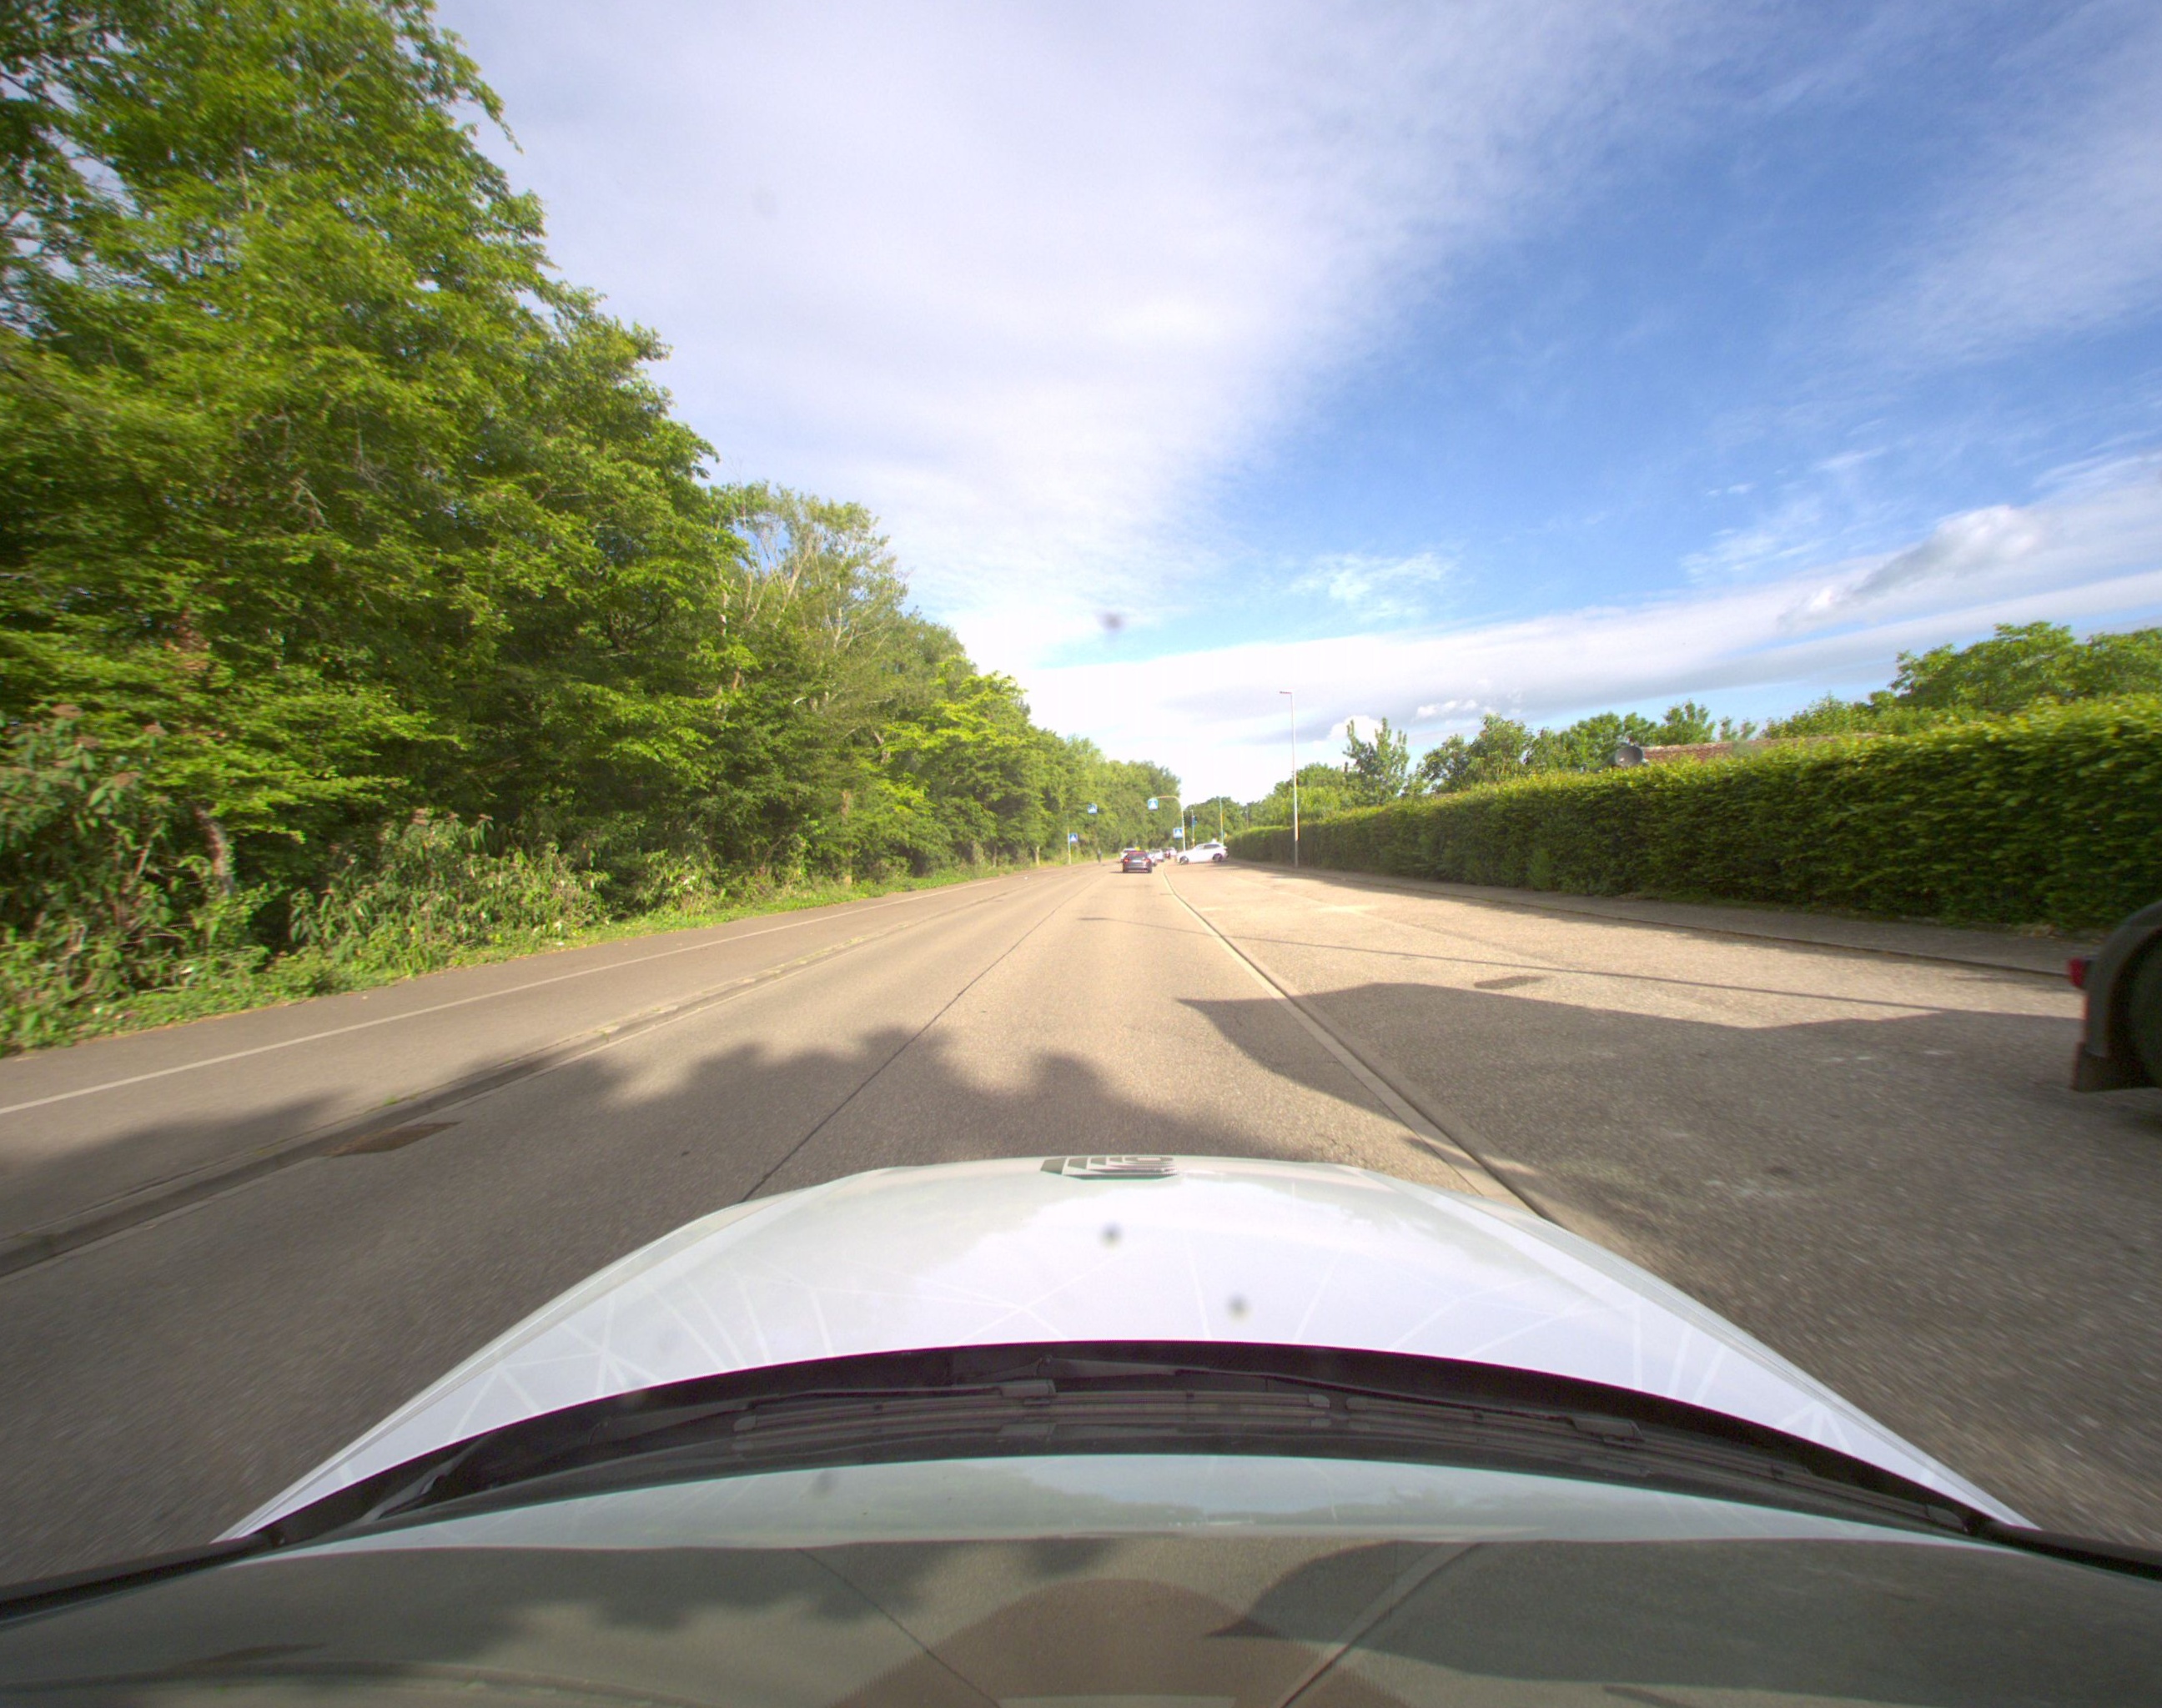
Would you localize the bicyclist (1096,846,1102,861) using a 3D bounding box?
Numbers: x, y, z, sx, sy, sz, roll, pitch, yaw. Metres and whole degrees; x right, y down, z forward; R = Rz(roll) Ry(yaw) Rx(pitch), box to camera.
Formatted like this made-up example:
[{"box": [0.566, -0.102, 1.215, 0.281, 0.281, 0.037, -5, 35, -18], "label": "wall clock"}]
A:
[{"box": [2.019, -0.021, 91.639, 0.605, 1.676, 0.886, -1, 0, 9], "label": "bicyclist"}]

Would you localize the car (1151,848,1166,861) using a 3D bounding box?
[{"box": [8.553, -0.001, 89.296, 1.487, 1.304, 3.269, -3, 0, 7], "label": "car"}]

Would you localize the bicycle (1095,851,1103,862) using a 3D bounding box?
[{"box": [2.033, 0.279, 91.674, 0.658, 1.097, 2.355, -1, 1, 9], "label": "bicycle"}]

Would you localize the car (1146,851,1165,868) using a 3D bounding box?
[{"box": [6.604, 0.473, 72.088, 1.487, 1.366, 3.269, -3, 0, 7], "label": "car"}]

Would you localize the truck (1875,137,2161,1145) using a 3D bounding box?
[{"box": [5.577, -0.866, 1.096, 2.587, 3.958, 6.283, -6, 1, 0], "label": "truck"}]

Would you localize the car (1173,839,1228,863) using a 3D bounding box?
[{"box": [10.370, -0.259, 70.704, 4.561, 1.699, 1.767, -4, 0, 8], "label": "car"}]

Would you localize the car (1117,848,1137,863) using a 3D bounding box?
[{"box": [5.472, 0.143, 96.900, 1.791, 1.585, 4.113, -4, 0, 10], "label": "car"}]

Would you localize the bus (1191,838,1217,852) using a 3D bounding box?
[{"box": [26.580, -1.988, 175.753, 5.339, 2.746, 2.072, -4, 0, 5], "label": "bus"}]

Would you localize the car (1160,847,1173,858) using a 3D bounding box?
[{"box": [11.273, -0.227, 107.782, 1.486, 1.366, 3.270, -3, 0, 9], "label": "car"}]

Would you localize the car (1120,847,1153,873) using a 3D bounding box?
[{"box": [3.547, 0.349, 51.759, 1.957, 1.434, 4.341, -3, 0, 4], "label": "car"}]

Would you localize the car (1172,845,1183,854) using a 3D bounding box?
[{"box": [15.680, -0.800, 132.696, 1.485, 1.366, 3.272, -3, 0, 11], "label": "car"}]
